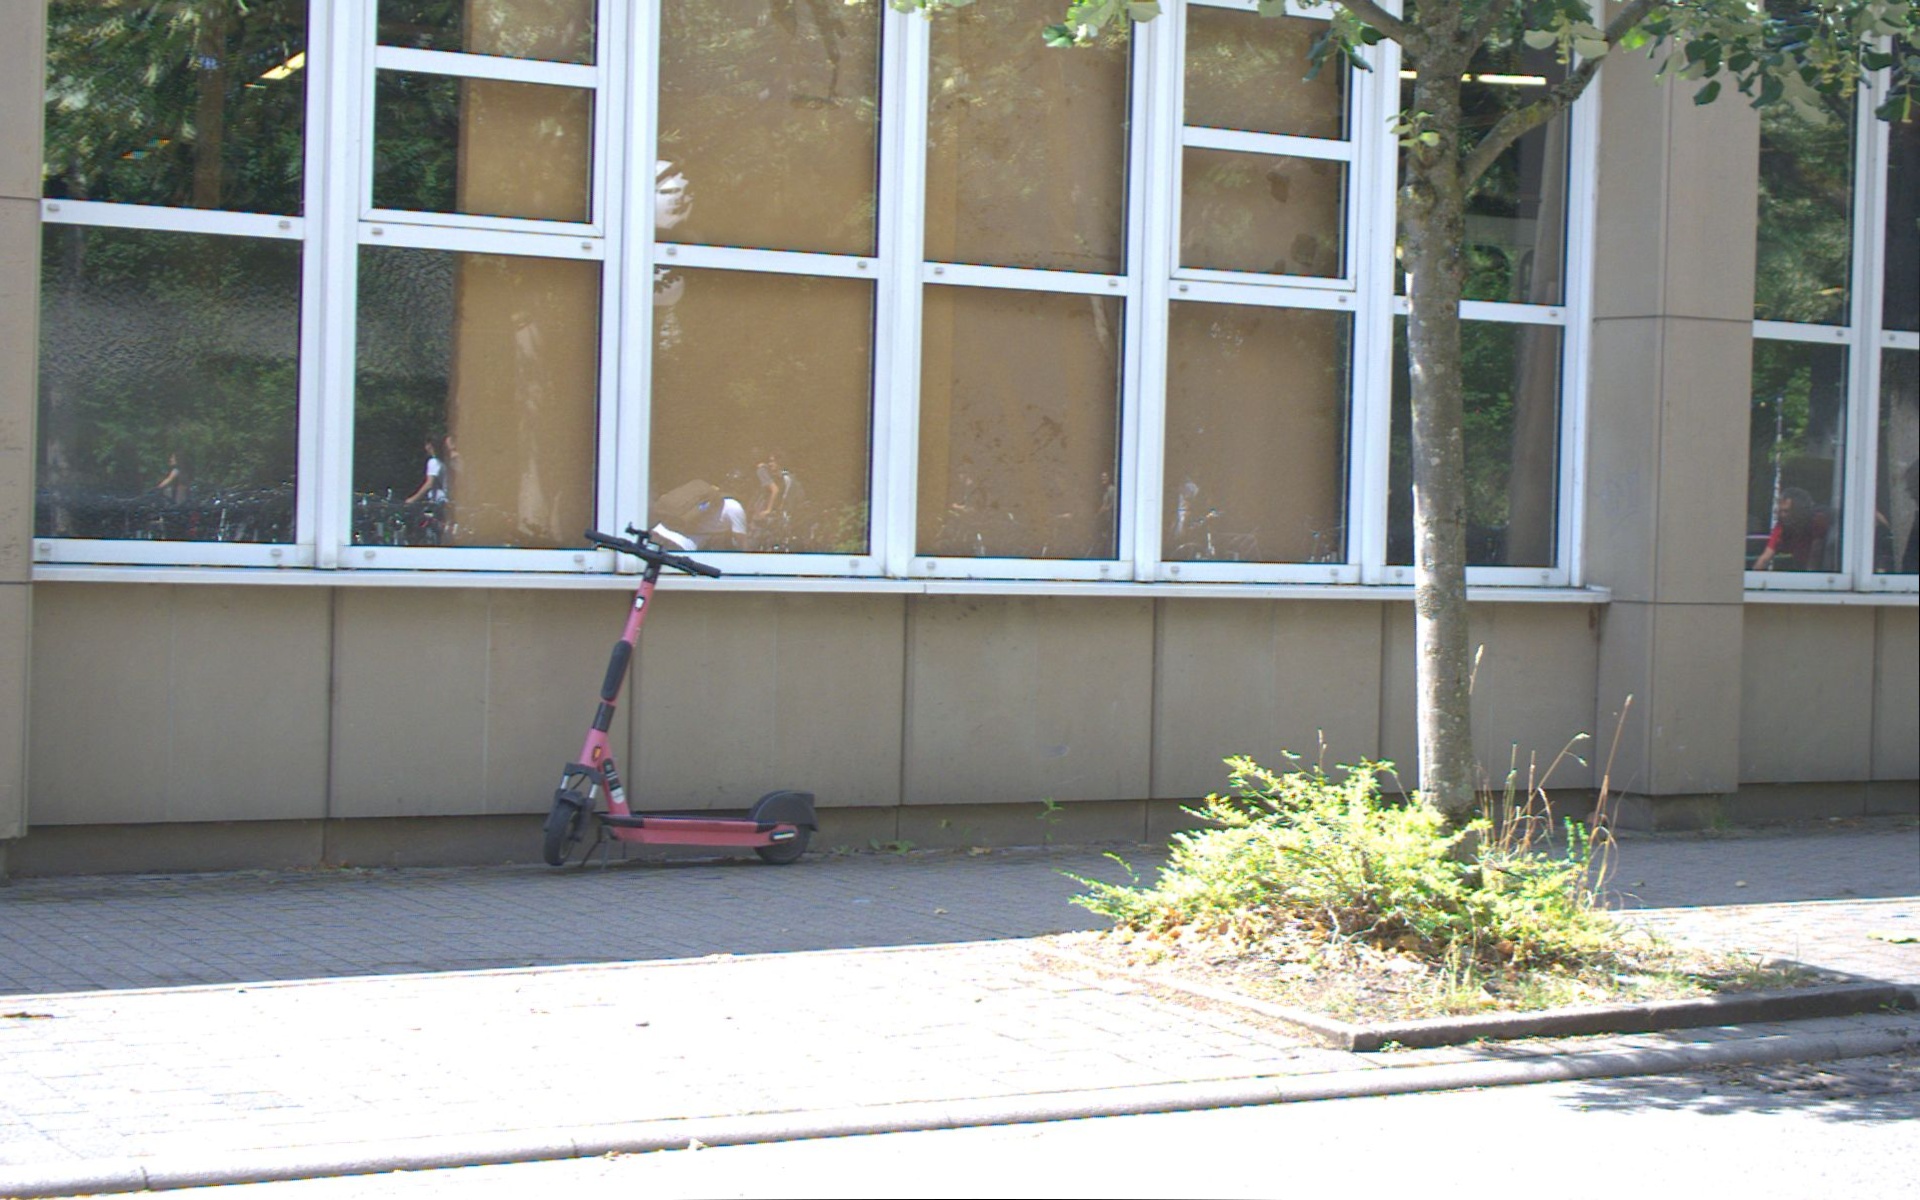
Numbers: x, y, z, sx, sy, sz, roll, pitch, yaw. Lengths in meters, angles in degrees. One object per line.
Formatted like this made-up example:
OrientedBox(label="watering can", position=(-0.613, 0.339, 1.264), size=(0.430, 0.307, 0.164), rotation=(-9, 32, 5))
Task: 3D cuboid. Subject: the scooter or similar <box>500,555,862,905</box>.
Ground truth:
OrientedBox(label="scooter or similar", position=(-1.008, 0.448, 12.486), size=(1.242, 1.203, 0.384), rotation=(0, 4, -32))
